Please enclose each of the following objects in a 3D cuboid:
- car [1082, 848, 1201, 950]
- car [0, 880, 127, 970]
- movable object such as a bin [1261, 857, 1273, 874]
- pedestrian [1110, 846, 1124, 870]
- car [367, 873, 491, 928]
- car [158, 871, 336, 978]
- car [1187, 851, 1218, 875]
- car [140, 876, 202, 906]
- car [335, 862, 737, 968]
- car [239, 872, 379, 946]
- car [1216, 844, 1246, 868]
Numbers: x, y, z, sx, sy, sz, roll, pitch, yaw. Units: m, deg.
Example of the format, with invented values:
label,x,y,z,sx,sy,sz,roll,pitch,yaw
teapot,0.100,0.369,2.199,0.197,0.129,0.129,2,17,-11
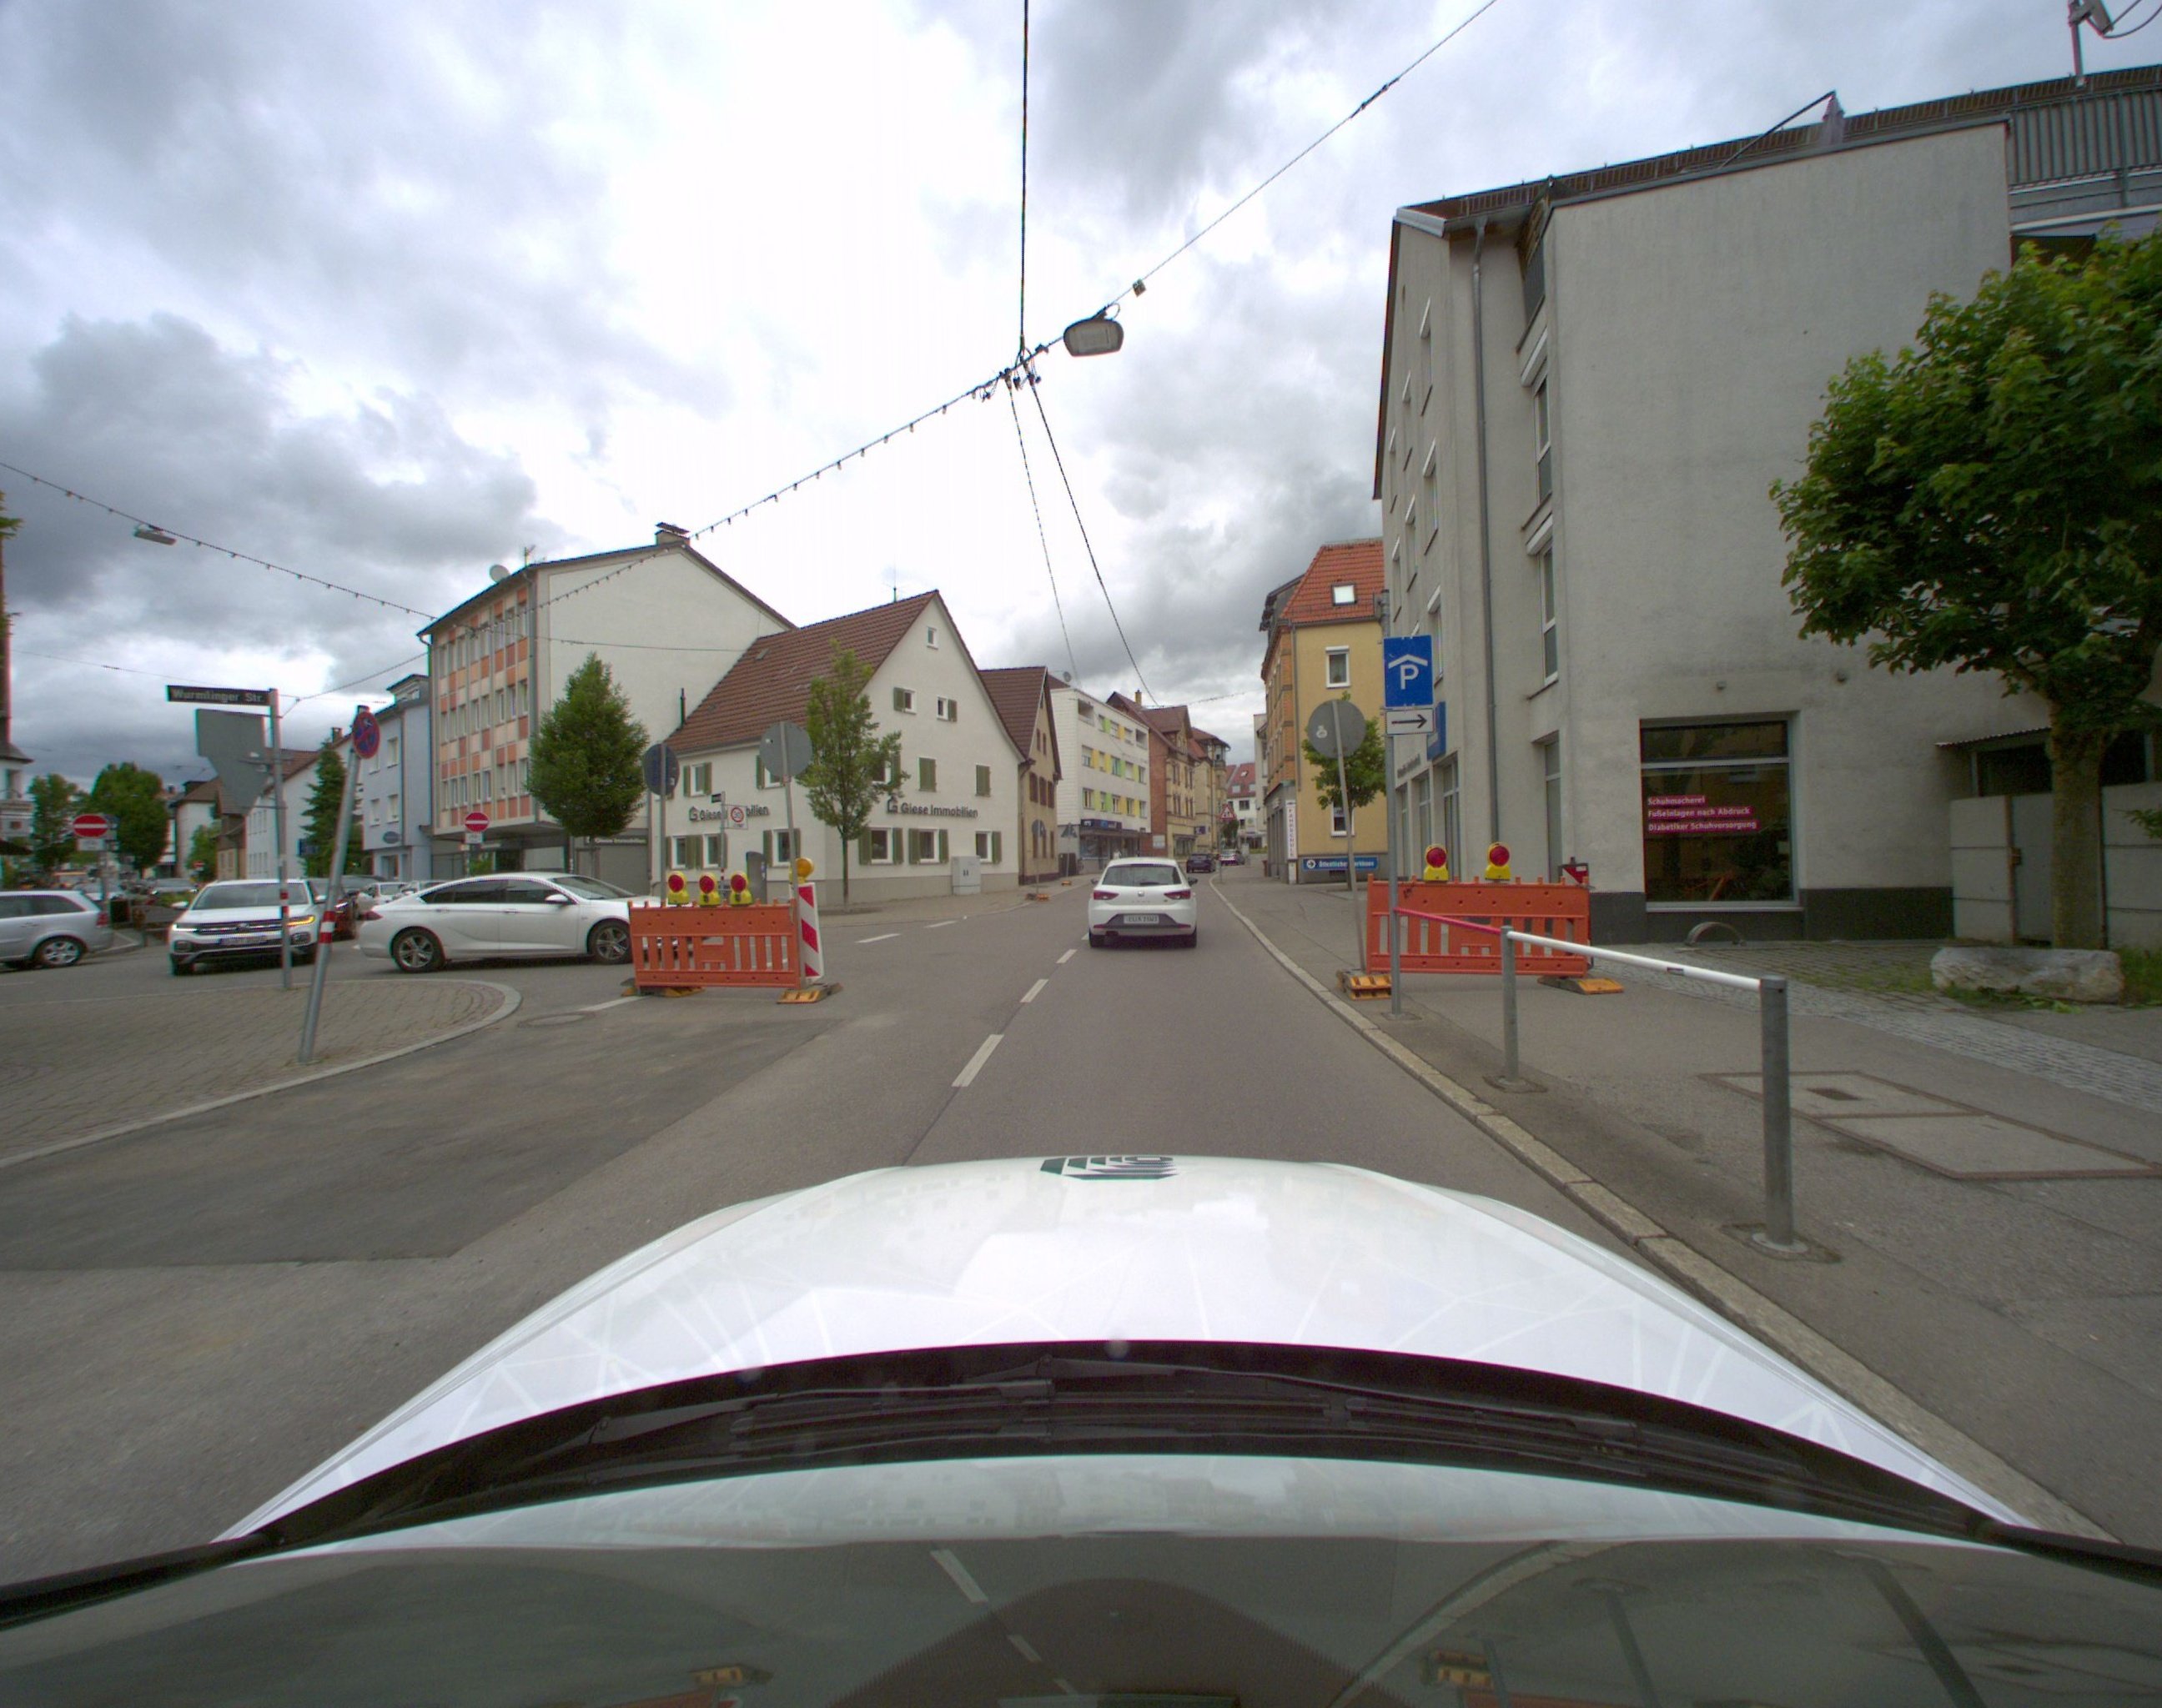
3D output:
label,x,y,z,sx,sy,sz,roll,pitch,yaw
car,1.168,0.660,14.325,1.801,1.480,3.879,0,1,7
car,-21.768,1.441,15.434,1.976,1.640,4.352,-2,0,23
movable object such as a bin,10.210,0.619,44.747,0.615,0.921,0.583,-2,0,12
pedestrian,2.638,0.297,59.347,0.888,1.665,0.863,-2,0,5
car,-21.502,1.461,26.803,4.855,1.557,2.034,0,0,37
car,-15.373,1.146,15.065,4.857,1.557,2.034,0,0,44
car,8.626,0.597,57.478,1.799,1.480,3.885,-2,1,13
car,-54.676,2.191,48.894,4.271,1.640,2.013,-2,0,36
car,-8.499,0.903,13.179,4.892,1.476,2.247,-1,0,-3
car,-19.869,1.313,21.199,2.030,1.557,4.864,-1,0,-36
car,13.502,0.163,73.278,1.977,2.013,4.020,-2,0,19
